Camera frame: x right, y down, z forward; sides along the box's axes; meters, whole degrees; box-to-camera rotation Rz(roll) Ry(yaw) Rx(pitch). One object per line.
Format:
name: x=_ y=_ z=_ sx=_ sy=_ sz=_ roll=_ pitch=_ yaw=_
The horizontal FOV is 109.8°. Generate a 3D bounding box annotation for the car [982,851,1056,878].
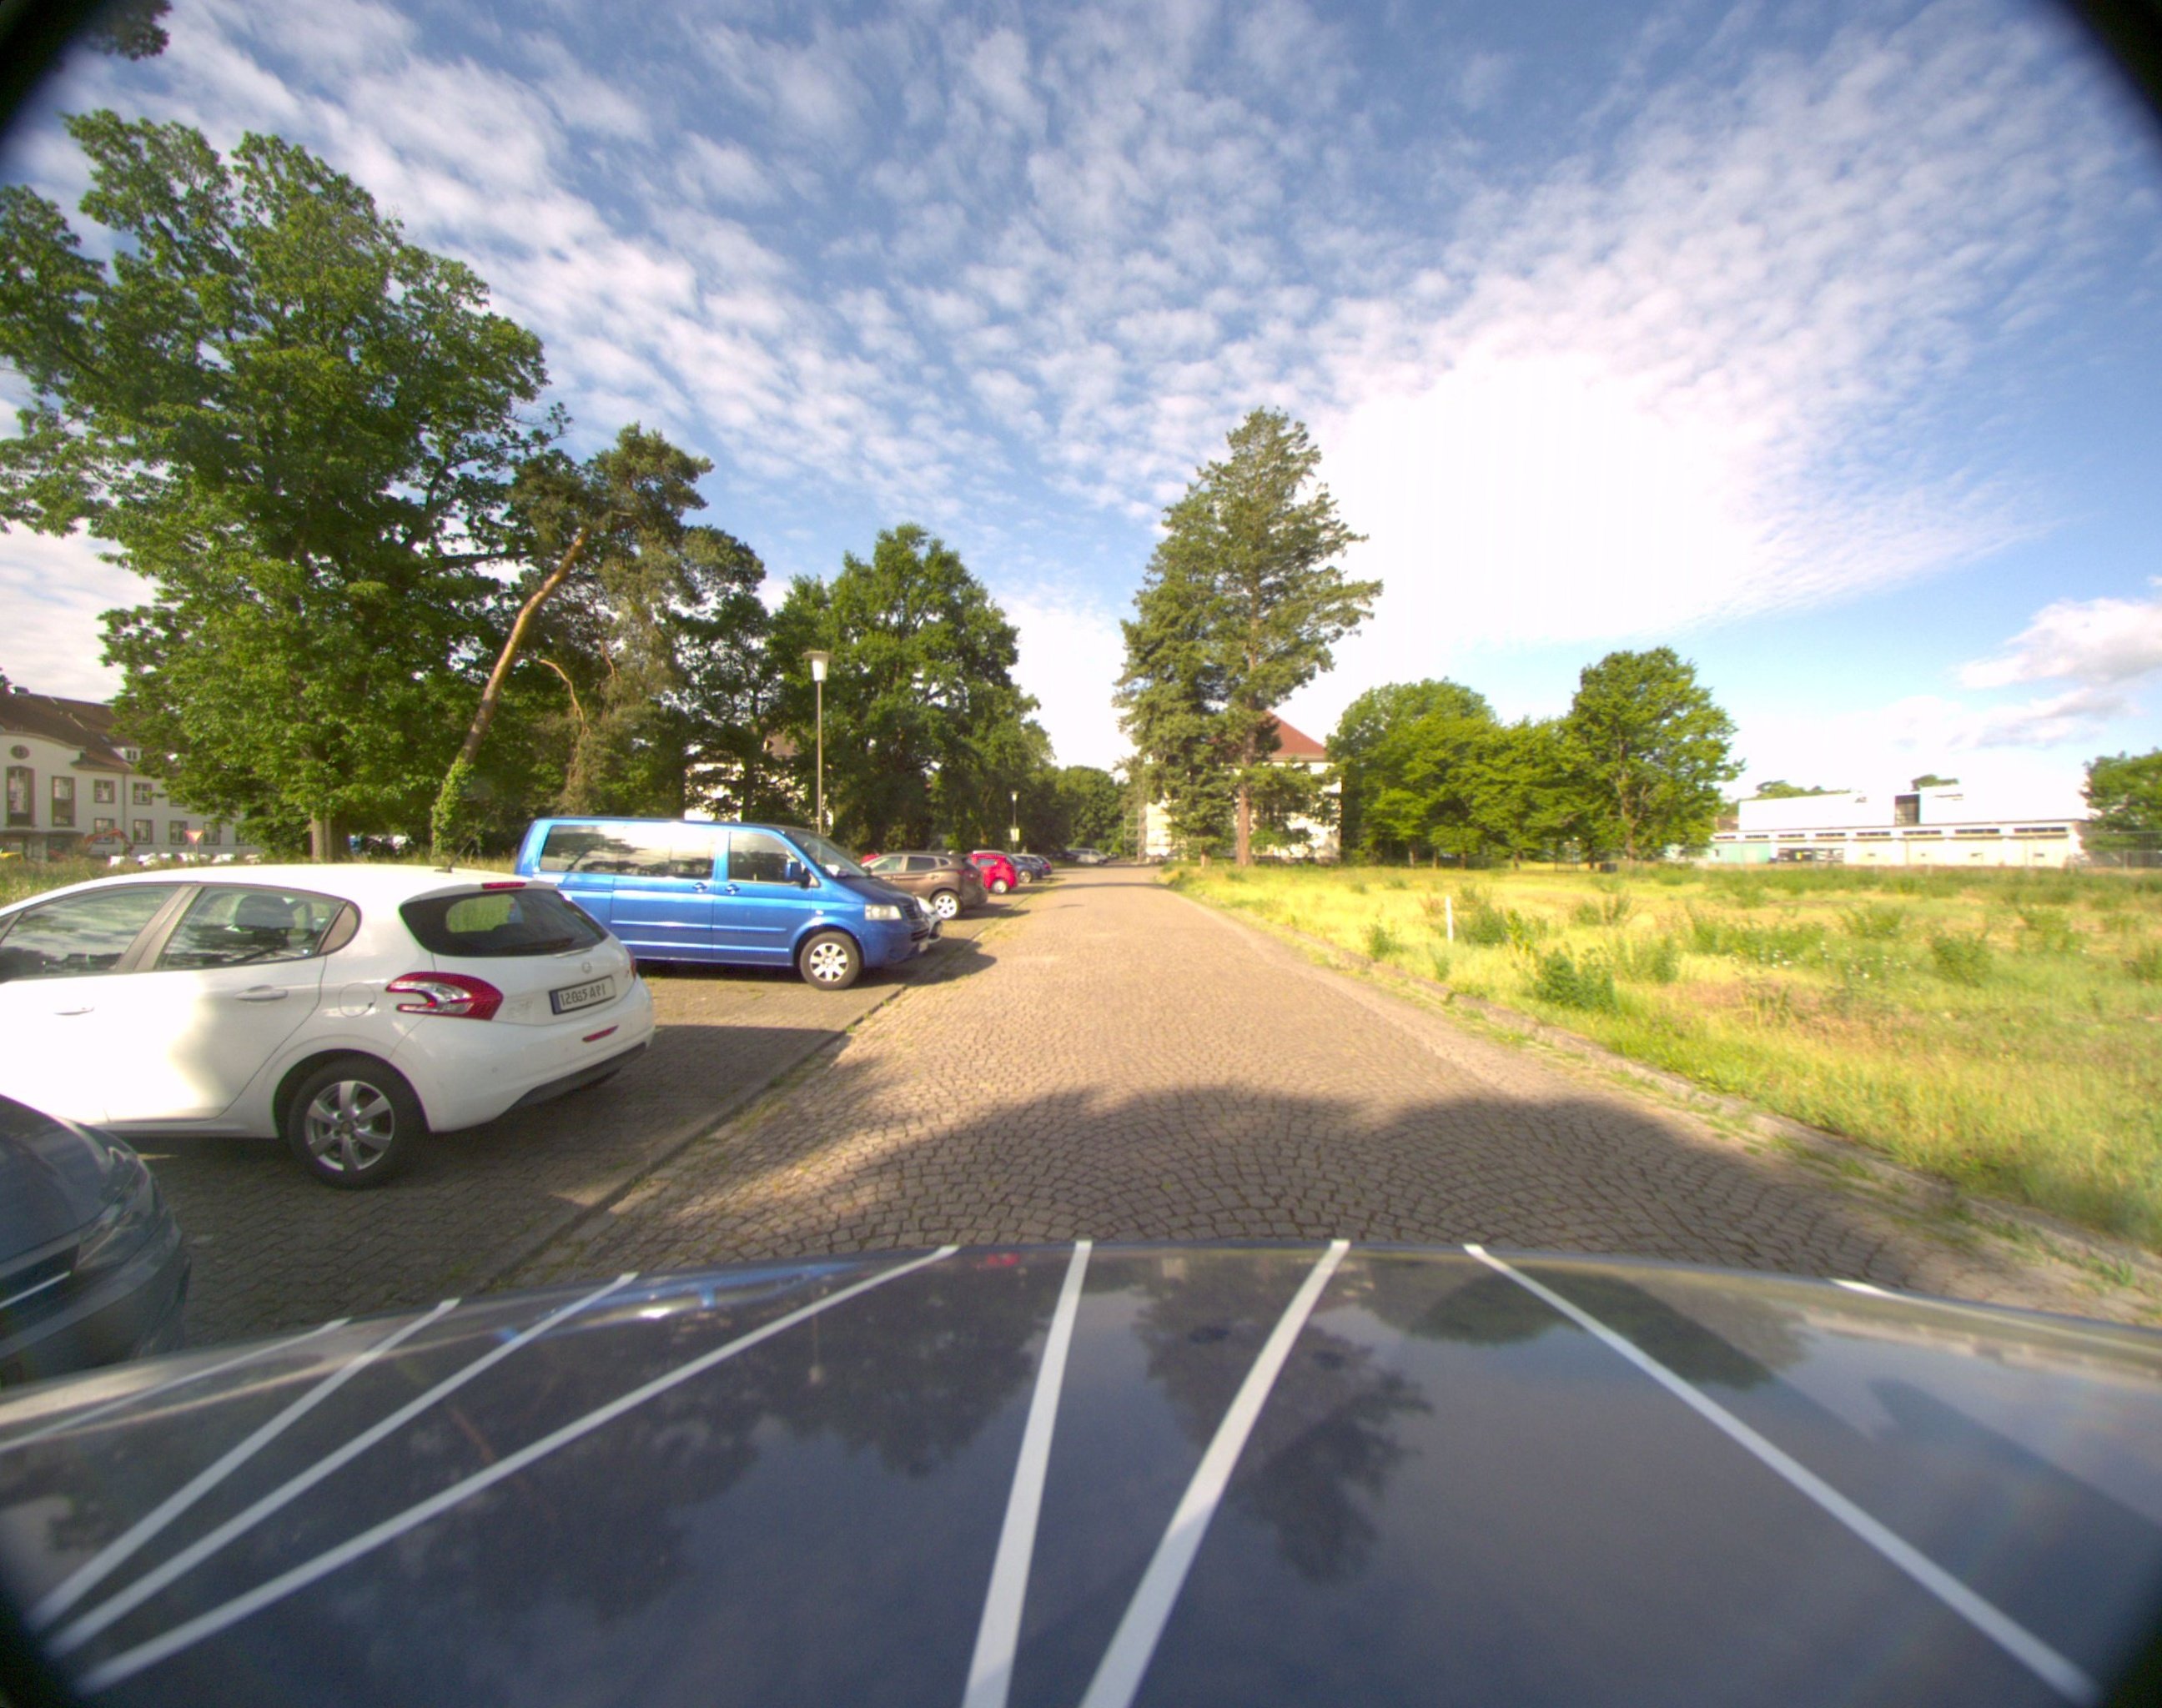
car: x=-3.530 y=0.606 z=43.710 sx=4.097 sy=1.415 sz=1.784 roll=2 pitch=0 yaw=0

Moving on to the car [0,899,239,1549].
car: x=-4.320 y=0.813 z=1.304 sx=3.716 sy=1.440 sz=1.856 roll=2 pitch=0 yaw=2

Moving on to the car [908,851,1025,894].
car: x=-4.261 y=0.681 z=28.807 sx=4.097 sy=1.451 sz=1.853 roll=2 pitch=0 yaw=0

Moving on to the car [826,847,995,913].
car: x=-4.618 y=0.686 z=21.116 sx=4.237 sy=1.589 sz=1.934 roll=2 pitch=1 yaw=-2

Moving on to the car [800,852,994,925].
car: x=-4.321 y=0.795 z=18.407 sx=4.237 sy=1.589 sz=1.934 roll=1 pitch=1 yaw=-2

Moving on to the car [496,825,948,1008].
car: x=-4.233 y=0.698 z=9.560 sx=4.710 sy=1.924 sz=2.000 roll=2 pitch=1 yaw=1

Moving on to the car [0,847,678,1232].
car: x=-4.538 y=0.779 z=4.130 sx=3.716 sy=1.525 sz=1.761 roll=2 pitch=0 yaw=2

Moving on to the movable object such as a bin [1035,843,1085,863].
movable object such as a bin: x=-2.190 y=-0.126 z=79.504 sx=4.865 sy=2.002 sz=2.002 roll=0 pitch=0 yaw=14

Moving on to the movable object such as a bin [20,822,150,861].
movable object such as a bin: x=-87.991 y=-1.151 z=67.328 sx=6.460 sy=3.282 sz=2.859 roll=-3 pitch=2 yaw=-42

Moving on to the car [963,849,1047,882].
car: x=-3.838 y=0.583 z=39.026 sx=4.097 sy=1.548 sz=1.853 roll=2 pitch=0 yaw=0

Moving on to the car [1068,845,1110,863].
car: x=0.977 y=-0.013 z=92.411 sx=4.933 sy=2.002 sz=1.999 roll=2 pitch=1 yaw=-5

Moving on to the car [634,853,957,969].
car: x=-4.386 y=0.837 z=12.183 sx=4.408 sy=1.568 sz=1.939 roll=2 pitch=1 yaw=1
